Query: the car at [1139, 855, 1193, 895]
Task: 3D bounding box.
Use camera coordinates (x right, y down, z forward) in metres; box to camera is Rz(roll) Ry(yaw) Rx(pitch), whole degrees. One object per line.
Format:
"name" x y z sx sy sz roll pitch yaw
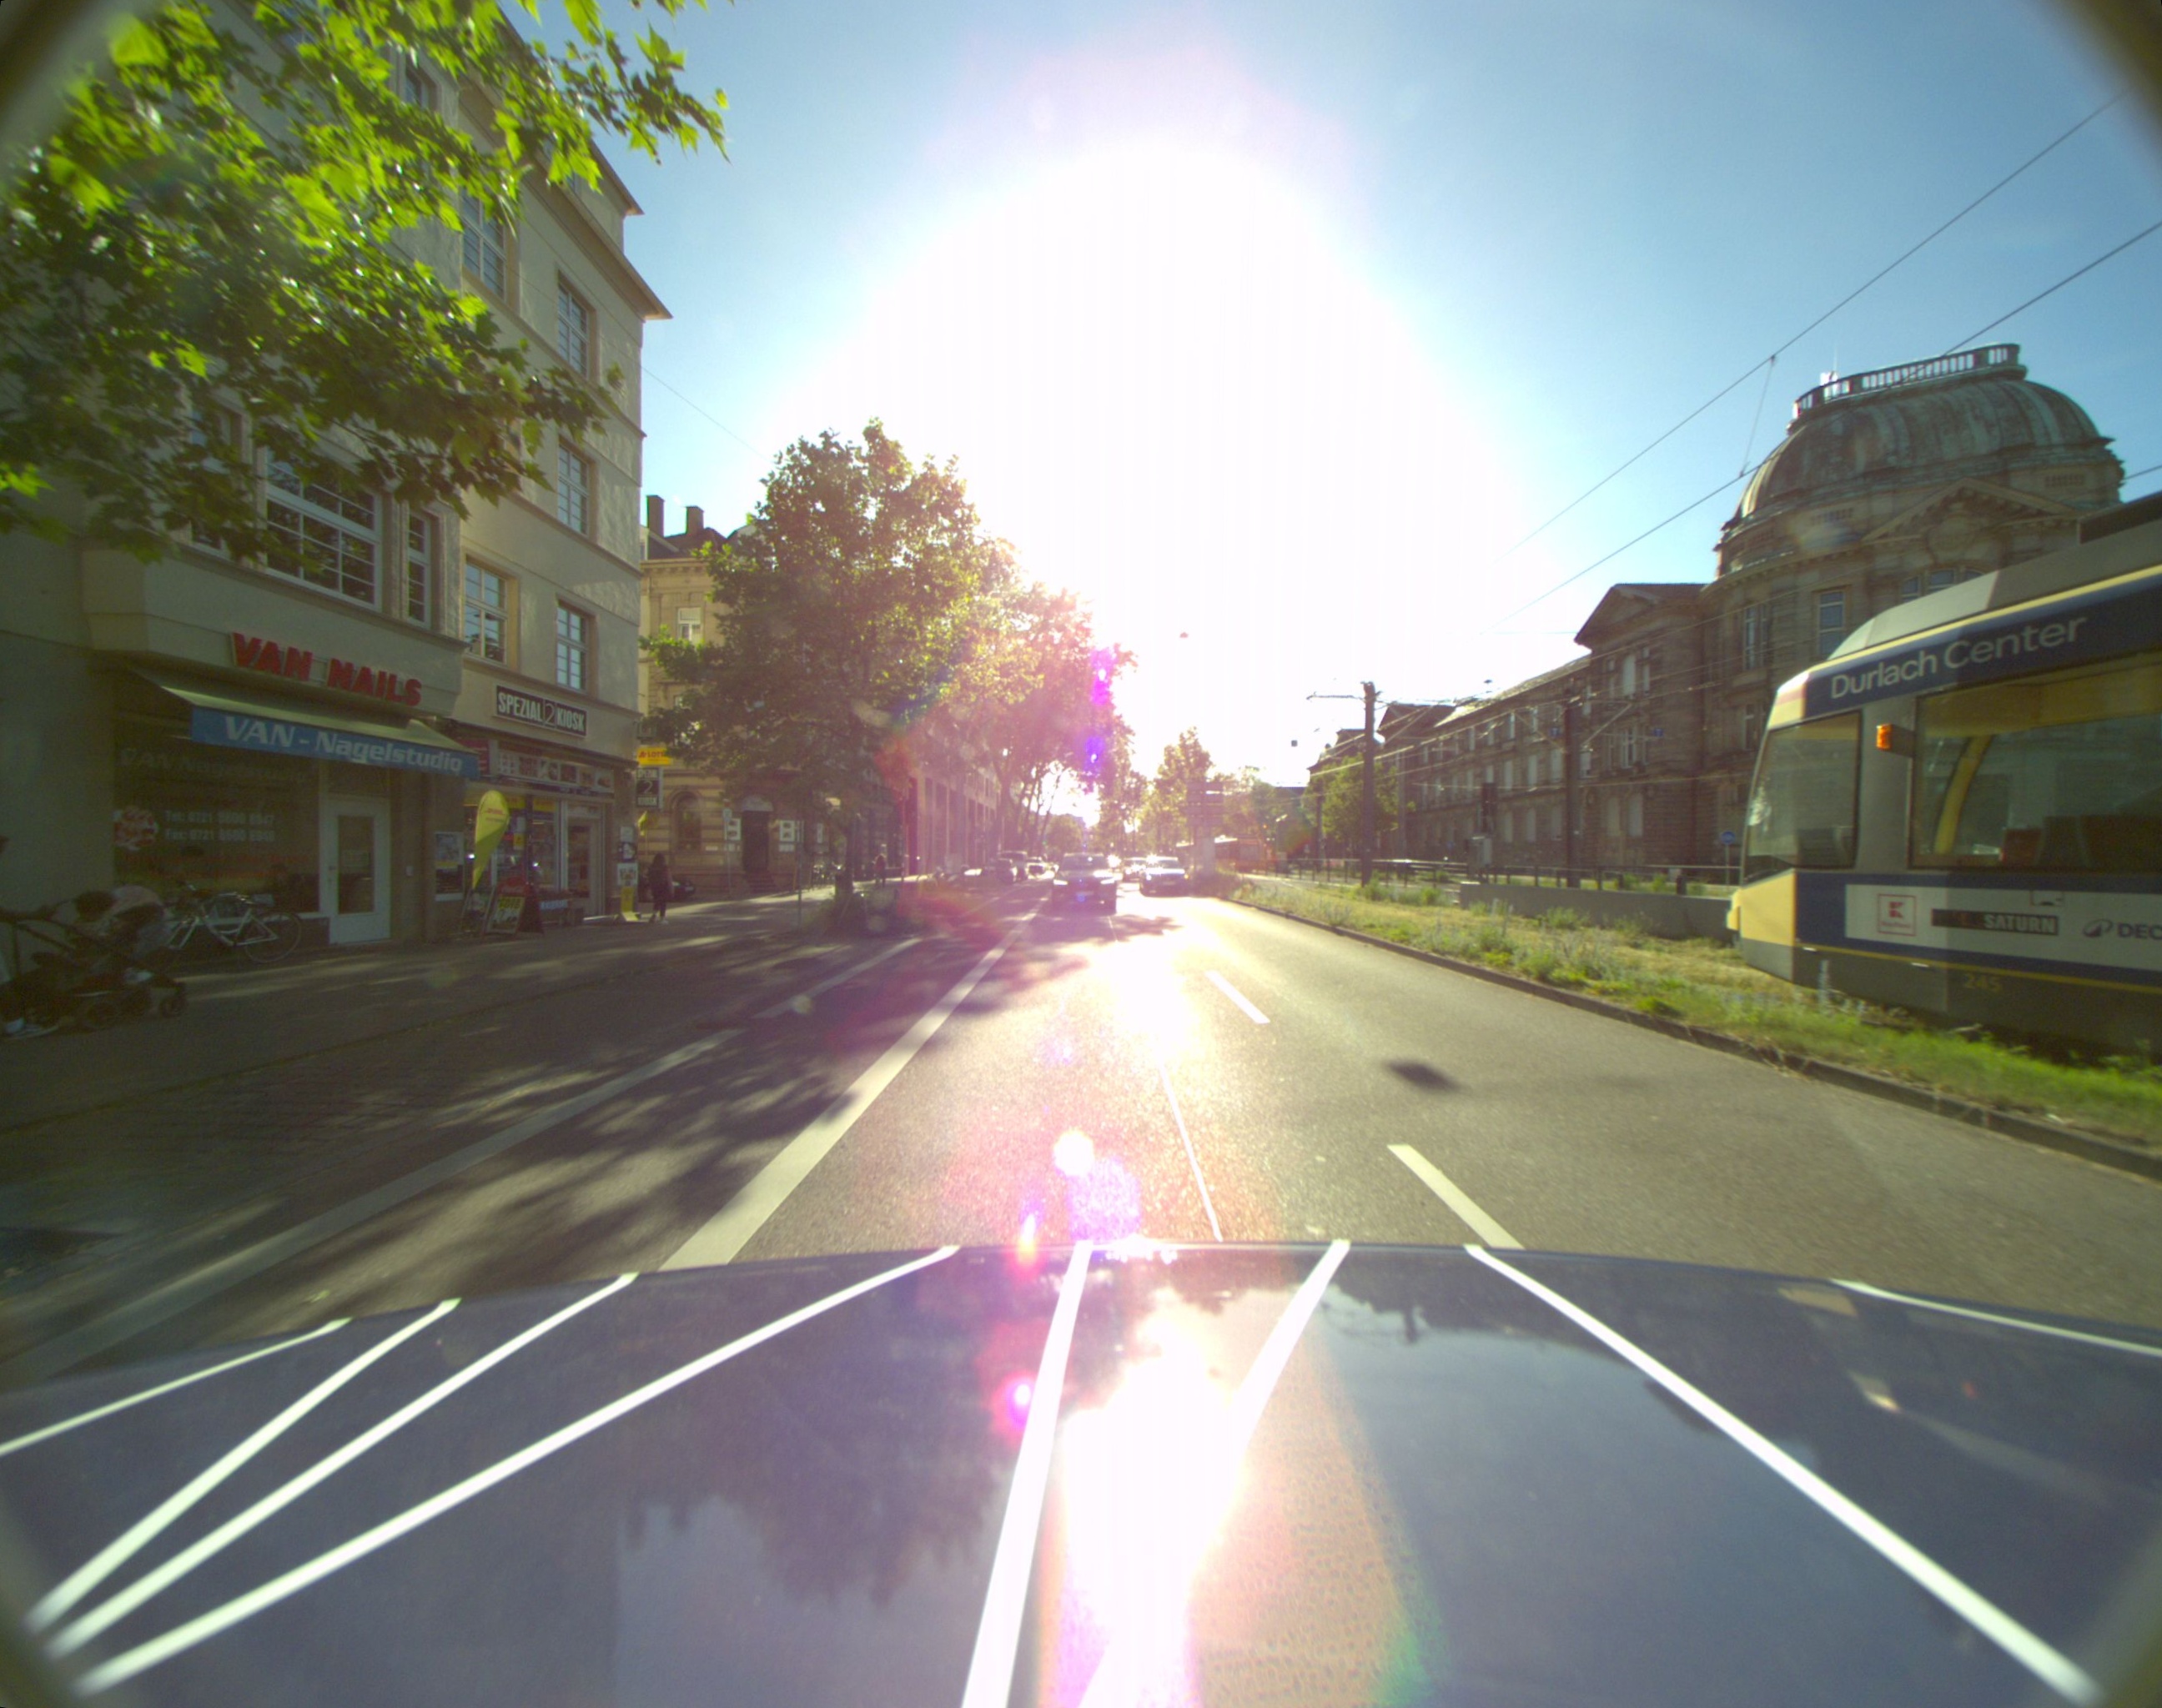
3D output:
"car" 3.346 0.796 30.508 1.777 1.439 3.869 -1 0 2

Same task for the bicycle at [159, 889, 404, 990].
"bicycle" -10.564 1.065 10.238 0.491 1.018 2.623 3 0 0

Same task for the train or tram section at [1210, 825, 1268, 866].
"train or tram section" 14.669 -0.729 71.561 2.969 3.463 11.286 -2 0 -1

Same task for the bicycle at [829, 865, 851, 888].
"bicycle" -11.374 1.042 35.852 0.415 0.991 1.882 -1 0 0

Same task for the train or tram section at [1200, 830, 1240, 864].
"train or tram section" 14.569 -0.706 80.219 2.964 3.463 6.059 -2 0 -1

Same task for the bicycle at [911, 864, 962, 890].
"bicycle" -6.641 1.036 34.897 2.227 1.087 0.456 -2 1 2

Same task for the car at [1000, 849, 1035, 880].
"car" -4.287 0.667 51.854 1.861 2.002 4.723 -2 0 1

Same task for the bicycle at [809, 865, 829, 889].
"bicycle" -11.707 1.019 33.943 0.280 1.014 1.730 1 0 0

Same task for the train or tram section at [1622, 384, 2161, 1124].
"train or tram section" 7.017 -0.528 0.581 2.936 3.790 14.271 -2 0 0

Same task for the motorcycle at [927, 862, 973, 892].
"motorcycle" -5.852 1.022 34.040 1.954 1.224 0.515 -2 1 -2

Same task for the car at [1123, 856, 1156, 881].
"car" 3.589 0.877 47.259 1.798 1.420 4.000 -2 0 1

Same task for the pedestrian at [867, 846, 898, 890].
"pedestrian" -9.153 0.626 35.090 1.090 2.002 1.046 -1 1 2

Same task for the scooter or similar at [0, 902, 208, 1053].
"scooter or similar" -8.508 1.043 6.650 0.746 1.165 0.849 2 1 -2

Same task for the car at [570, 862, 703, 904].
"car" -15.995 1.027 27.445 3.917 1.403 1.637 -1 0 6

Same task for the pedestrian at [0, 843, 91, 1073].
"pedestrian" -8.474 0.771 5.699 0.861 1.695 0.916 2 1 -2

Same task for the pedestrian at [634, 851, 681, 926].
"pedestrian" -9.343 0.741 16.777 0.683 1.612 0.562 -1 1 -2

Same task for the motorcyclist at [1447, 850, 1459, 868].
"motorcyclist" 26.591 0.375 54.357 0.515 1.250 0.691 -2 1 5

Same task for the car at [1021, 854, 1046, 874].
"car" -4.194 0.863 67.572 1.672 1.561 4.280 -2 0 2

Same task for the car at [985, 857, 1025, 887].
"car" -4.384 1.007 44.338 1.823 1.506 4.707 -3 0 0

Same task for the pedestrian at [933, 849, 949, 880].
"pedestrian" -8.522 0.644 46.142 0.644 1.817 0.895 -2 1 6

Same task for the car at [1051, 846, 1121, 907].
"car" 0.142 0.633 24.042 1.949 1.690 5.306 -1 0 0

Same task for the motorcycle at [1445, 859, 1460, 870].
"motorcycle" 26.622 0.746 54.443 0.369 0.779 1.522 -2 0 3

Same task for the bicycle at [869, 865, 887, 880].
"bicycle" -11.549 1.041 43.293 0.550 0.769 1.663 1 0 0

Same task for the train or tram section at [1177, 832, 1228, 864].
"train or tram section" 14.674 -0.682 93.882 2.971 3.463 21.217 -2 0 0
